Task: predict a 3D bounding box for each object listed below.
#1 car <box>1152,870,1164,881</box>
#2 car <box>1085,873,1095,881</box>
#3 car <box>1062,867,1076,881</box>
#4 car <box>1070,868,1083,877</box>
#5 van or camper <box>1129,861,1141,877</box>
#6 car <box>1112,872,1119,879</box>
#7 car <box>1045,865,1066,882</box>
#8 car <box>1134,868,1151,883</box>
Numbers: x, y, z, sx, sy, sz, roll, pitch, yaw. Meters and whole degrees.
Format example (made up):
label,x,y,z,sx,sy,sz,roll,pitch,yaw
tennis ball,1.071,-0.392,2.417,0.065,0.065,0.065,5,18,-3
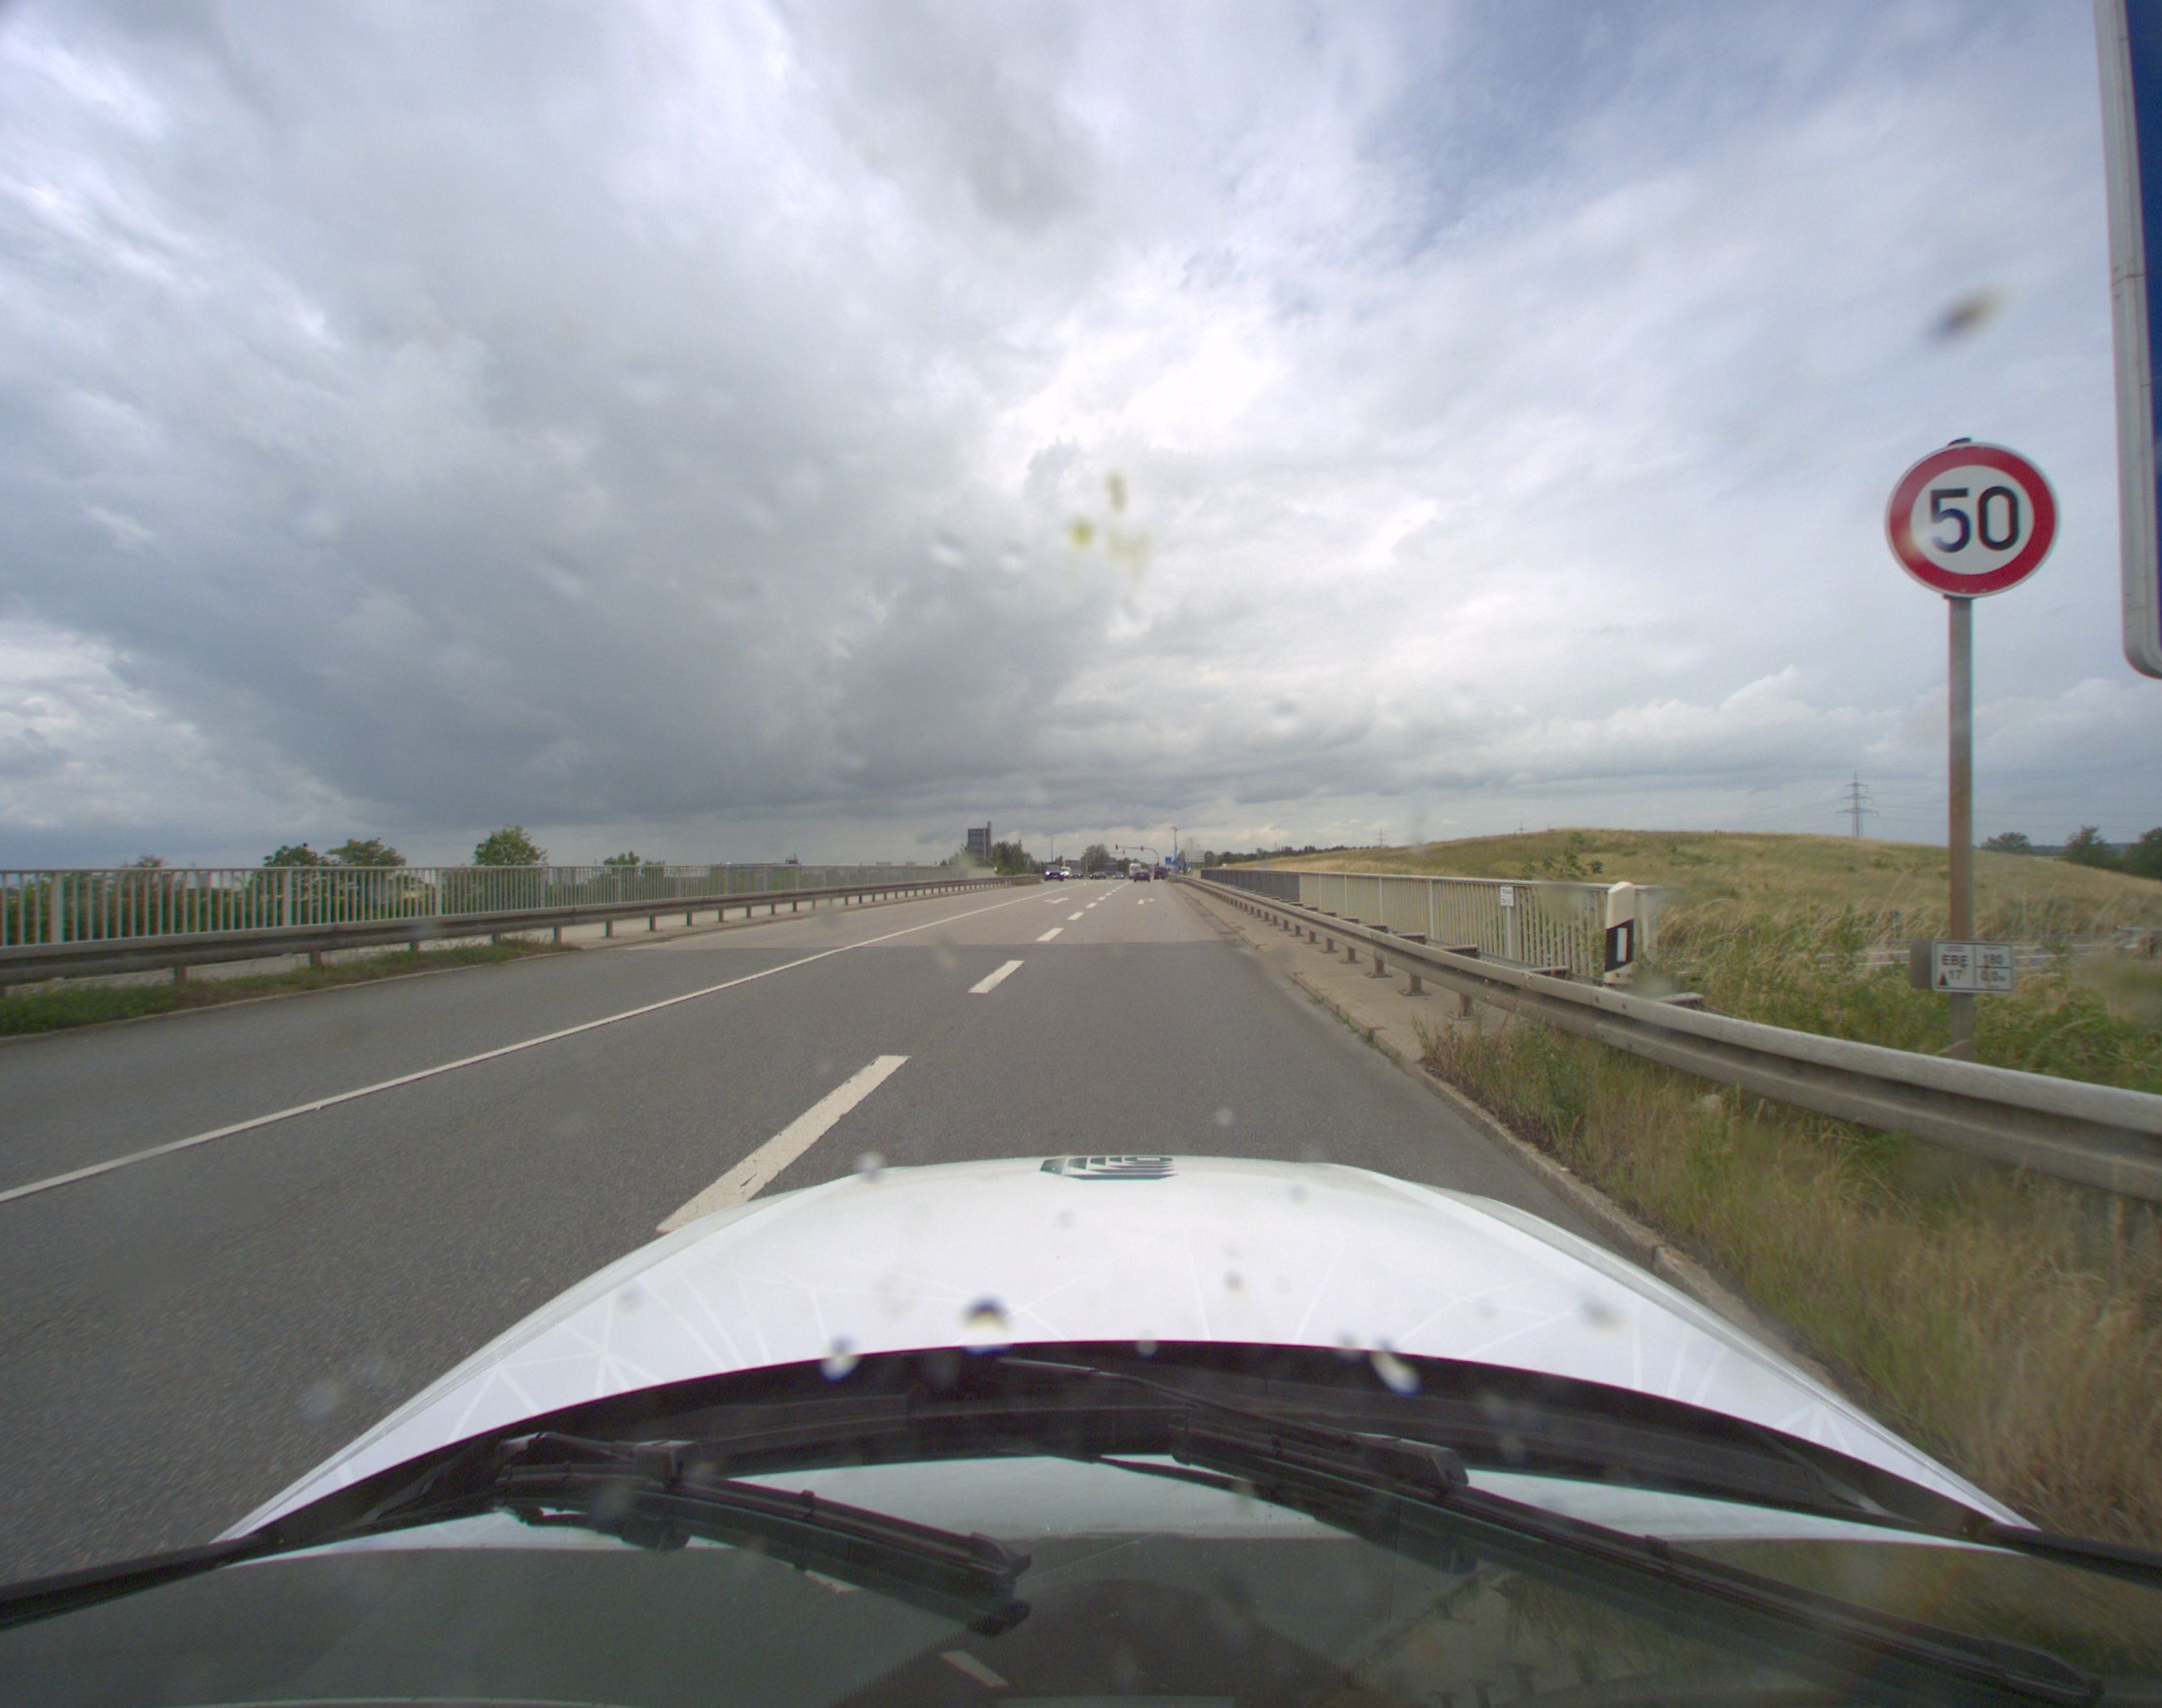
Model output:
label,x,y,z,sx,sy,sz,roll,pitch,yaw
car,11.904,3.299,125.274,1.672,1.544,3.623,-1,-1,8
car,1.703,4.341,155.061,1.801,1.368,4.791,0,2,3
car,-1.843,3.009,123.522,1.947,1.875,4.819,4,-2,0
car,-0.749,3.232,141.142,1.573,1.558,4.155,0,-2,8
van or camper,8.858,2.533,133.810,1.867,2.581,4.005,1,-1,5
car,8.243,5.154,193.084,1.686,1.368,3.947,0,2,3
car,-2.743,2.134,89.198,1.986,1.732,4.763,2,-1,2
car,6.274,2.186,83.011,1.509,1.485,3.623,-1,-1,8
